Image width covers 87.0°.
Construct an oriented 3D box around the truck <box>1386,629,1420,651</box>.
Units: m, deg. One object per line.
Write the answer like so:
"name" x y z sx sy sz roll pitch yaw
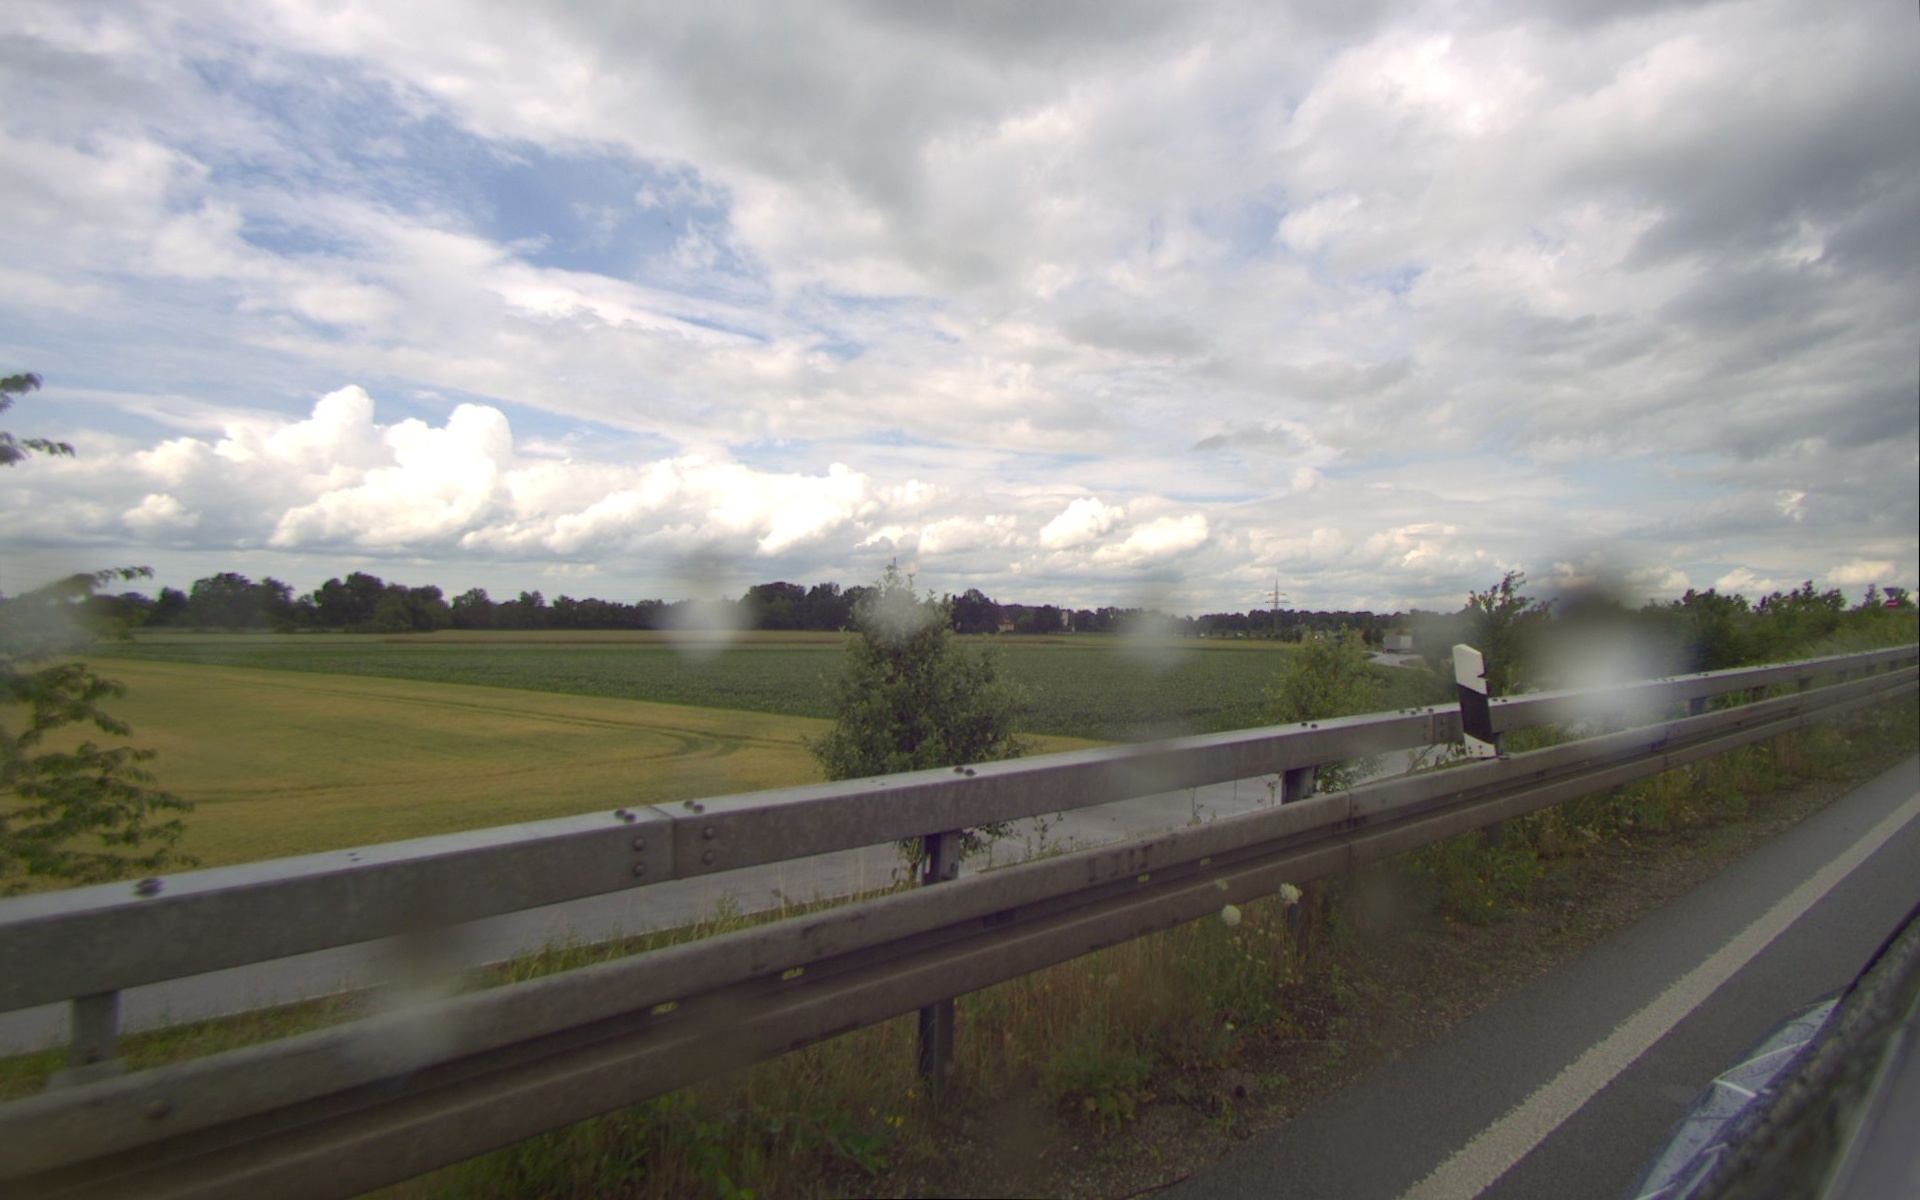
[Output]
"truck" 97.161 8.665 222.118 3.200 4.393 11.669 -1 -1 6
